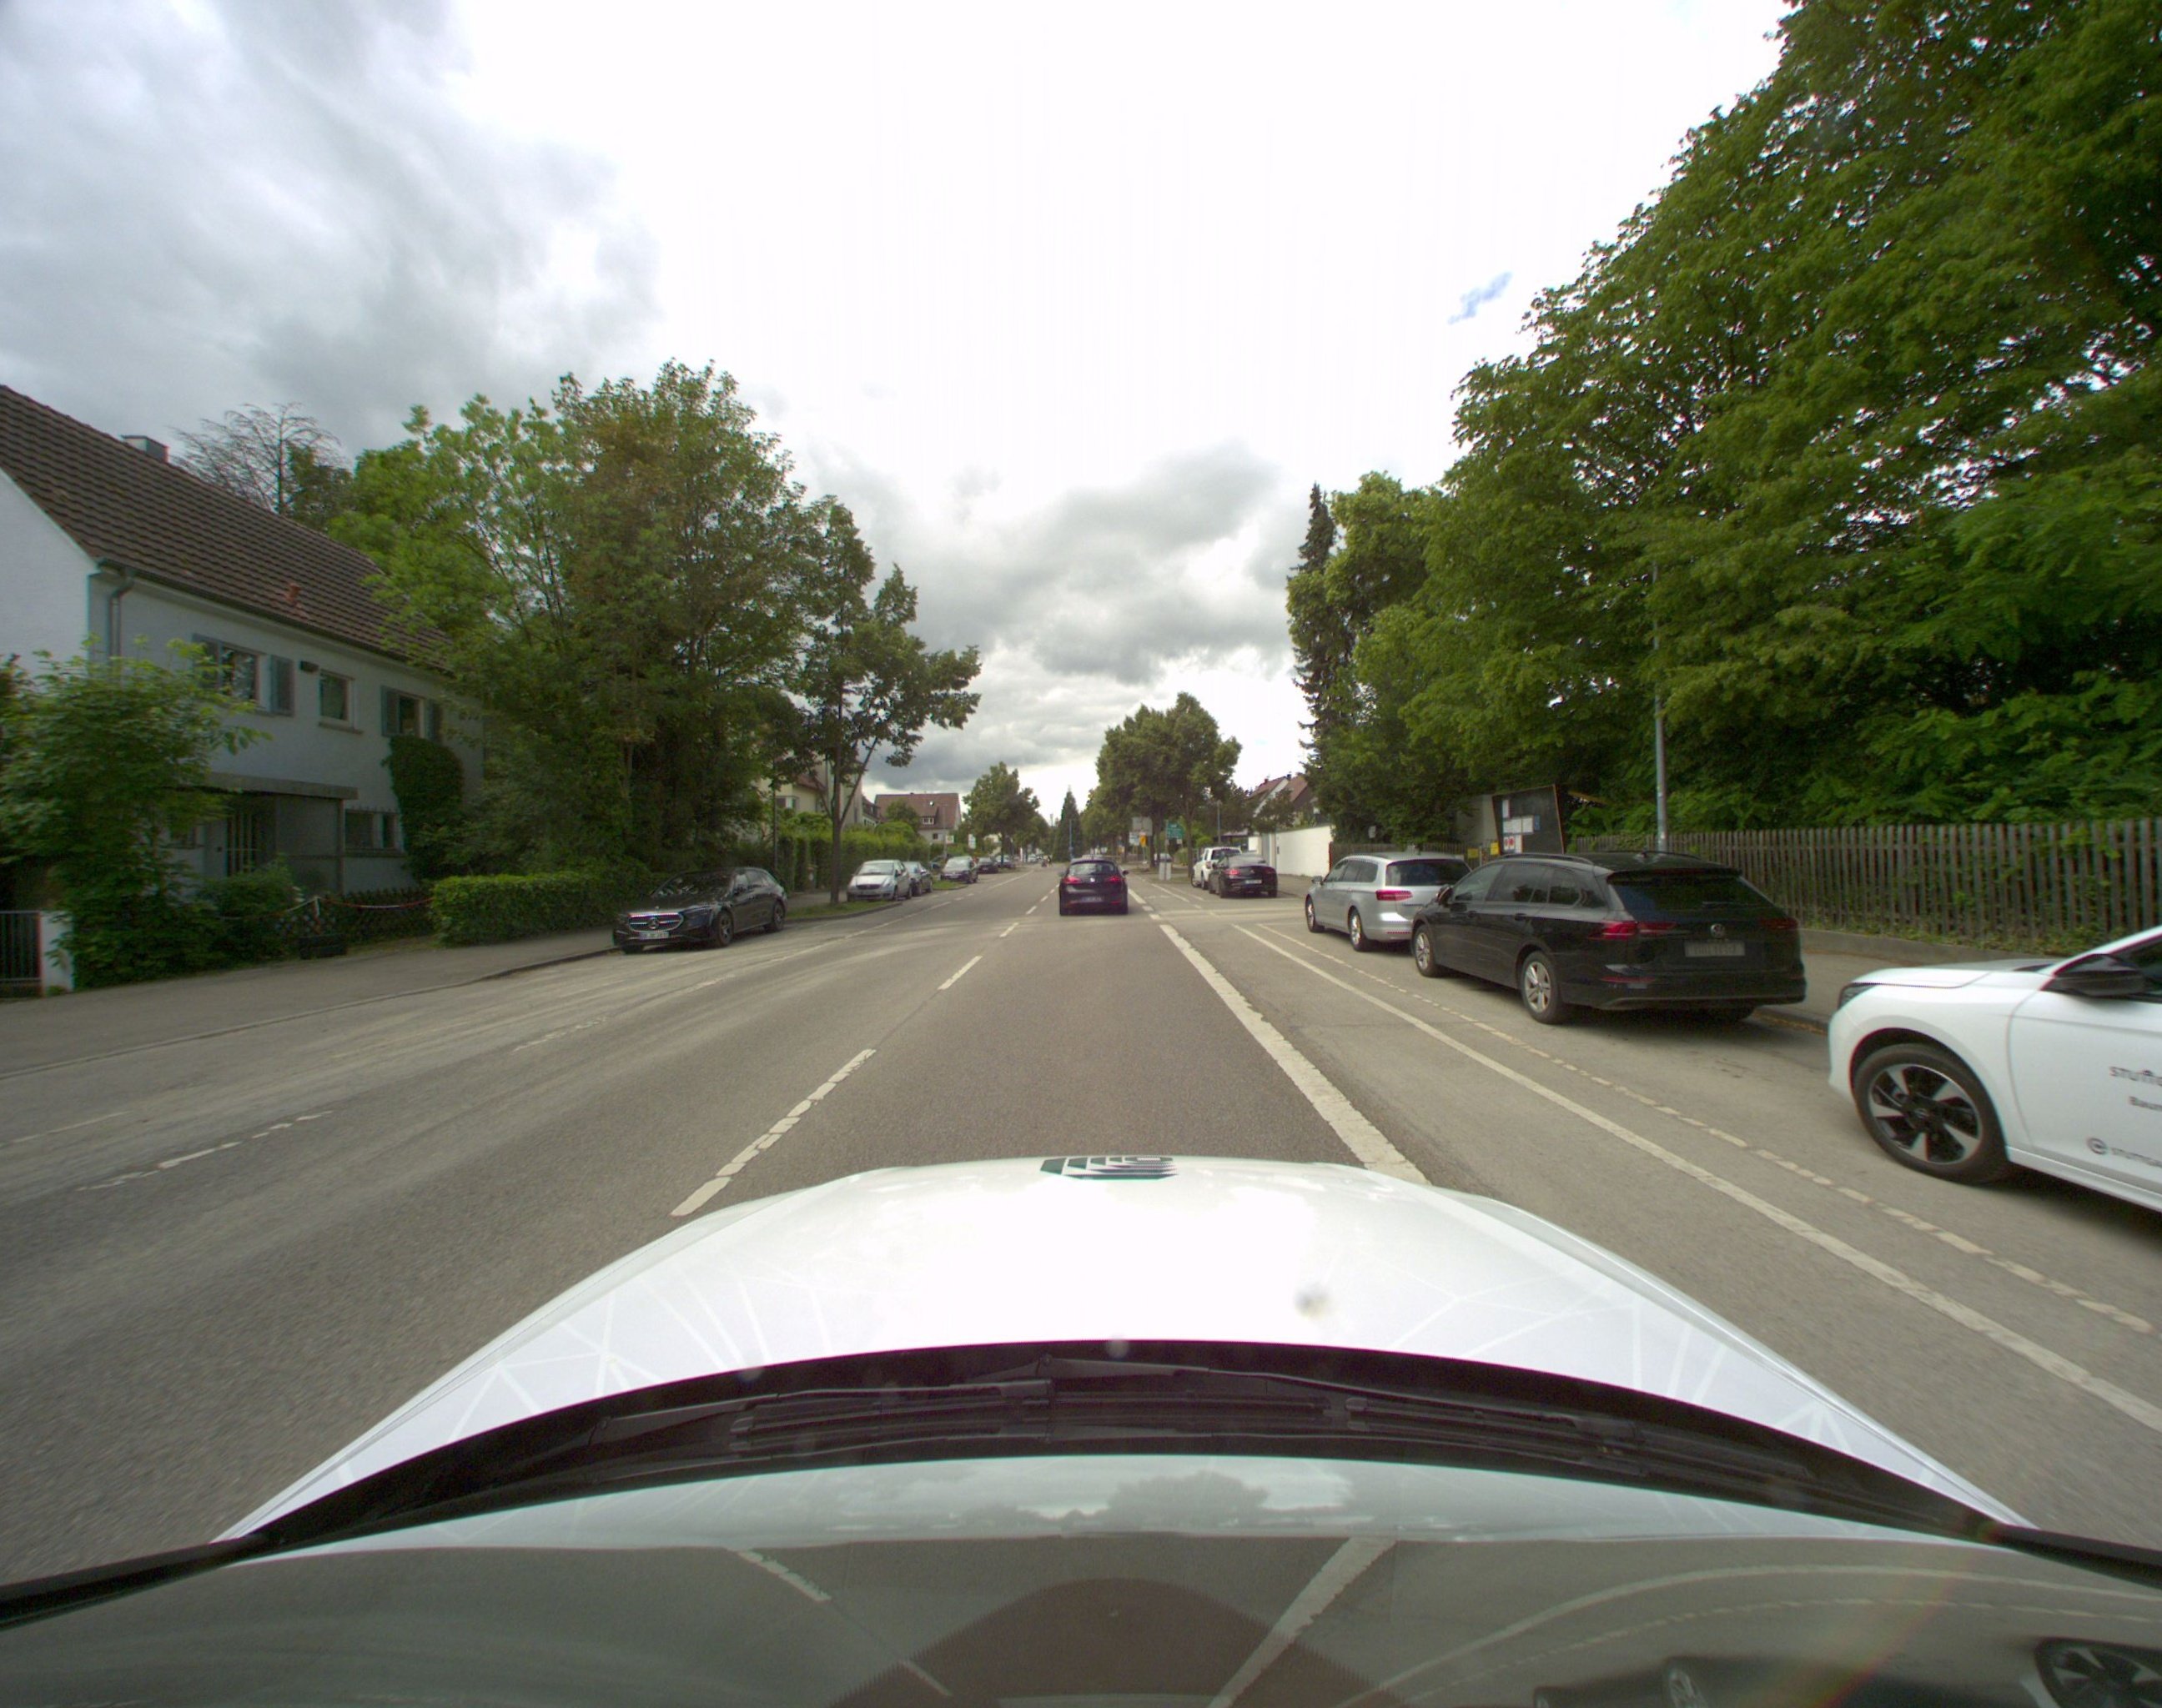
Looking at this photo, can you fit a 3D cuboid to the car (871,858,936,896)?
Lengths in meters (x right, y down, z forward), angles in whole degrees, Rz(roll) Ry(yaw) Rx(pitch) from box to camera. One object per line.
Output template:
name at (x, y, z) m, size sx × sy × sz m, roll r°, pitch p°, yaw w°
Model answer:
car at (-7.884, 0.988, 36.627) m, size 1.989 × 1.485 × 4.885 m, roll -2°, pitch 0°, yaw -3°

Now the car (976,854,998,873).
car at (-8.951, 0.909, 77.718) m, size 1.720 × 1.725 × 4.561 m, roll -1°, pitch 0°, yaw -2°

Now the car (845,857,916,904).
car at (-7.548, 0.957, 31.039) m, size 1.713 × 1.613 × 3.909 m, roll -2°, pitch 0°, yaw 0°

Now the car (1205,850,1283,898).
car at (5.319, 0.609, 27.149) m, size 1.856 × 1.417 × 4.605 m, roll -1°, pitch 0°, yaw 2°

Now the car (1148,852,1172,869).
car at (6.753, 0.604, 69.984) m, size 1.606 × 1.377 × 4.386 m, roll -2°, pitch -1°, yaw 0°

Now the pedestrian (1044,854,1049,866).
pedestrian at (-4.620, 0.793, 109.058) m, size 0.512 × 1.669 × 0.483 m, roll -2°, pitch 0°, yaw 2°

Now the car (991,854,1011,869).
car at (-9.236, 0.876, 94.011) m, size 1.854 × 1.653 × 4.294 m, roll -1°, pitch 0°, yaw 0°

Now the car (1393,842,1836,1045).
car at (4.833, 0.650, 8.327) m, size 1.695 × 1.510 × 4.540 m, roll 0°, pitch 0°, yaw 2°

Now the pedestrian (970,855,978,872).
pedestrian at (-10.695, 0.985, 81.421) m, size 0.786 × 1.663 × 0.752 m, roll -1°, pitch 0°, yaw -7°

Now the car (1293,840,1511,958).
car at (5.011, 0.629, 13.508) m, size 1.855 × 1.611 × 4.687 m, roll 0°, pitch 0°, yaw 1°

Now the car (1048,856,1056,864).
car at (-6.239, 1.180, 174.701) m, size 1.563 × 1.634 × 3.621 m, roll -2°, pitch 0°, yaw 0°

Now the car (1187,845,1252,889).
car at (5.582, 0.520, 33.314) m, size 1.894 × 1.642 × 4.115 m, roll -2°, pitch 0°, yaw 0°

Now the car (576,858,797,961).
car at (-7.696, 0.969, 16.602) m, size 2.089 × 1.647 × 5.035 m, roll -2°, pitch 0°, yaw -2°

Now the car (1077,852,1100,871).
car at (0.697, 0.644, 73.043) m, size 1.986 × 1.613 × 4.001 m, roll -1°, pitch 0°, yaw 1°

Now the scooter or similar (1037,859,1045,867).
scooter or similar at (-5.329, 1.186, 109.044) m, size 0.963 × 1.095 × 0.407 m, roll 1°, pitch -1°, yaw 1°

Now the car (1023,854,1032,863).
car at (-12.476, 1.051, 189.753) m, size 2.025 × 1.970 × 3.996 m, roll -2°, pitch 0°, yaw -3°

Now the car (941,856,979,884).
car at (-7.219, 0.948, 48.967) m, size 1.672 × 1.552 × 4.270 m, roll -2°, pitch 0°, yaw -2°

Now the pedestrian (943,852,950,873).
pedestrian at (-11.800, 0.762, 71.492) m, size 0.502 × 1.806 × 0.671 m, roll -2°, pitch 0°, yaw -1°

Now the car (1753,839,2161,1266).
car at (4.676, 0.683, 2.642) m, size 1.761 × 1.510 × 4.033 m, roll -1°, pitch -1°, yaw 2°

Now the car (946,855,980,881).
car at (-8.115, 0.935, 56.346) m, size 1.816 × 1.634 × 4.581 m, roll -2°, pitch 0°, yaw -3°

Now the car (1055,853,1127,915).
car at (0.337, 0.729, 21.697) m, size 1.725 × 1.486 × 4.002 m, roll -1°, pitch 0°, yaw 2°

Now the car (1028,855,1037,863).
car at (-10.204, 1.051, 171.919) m, size 1.792 × 1.601 × 3.998 m, roll -2°, pitch 0°, yaw -1°
